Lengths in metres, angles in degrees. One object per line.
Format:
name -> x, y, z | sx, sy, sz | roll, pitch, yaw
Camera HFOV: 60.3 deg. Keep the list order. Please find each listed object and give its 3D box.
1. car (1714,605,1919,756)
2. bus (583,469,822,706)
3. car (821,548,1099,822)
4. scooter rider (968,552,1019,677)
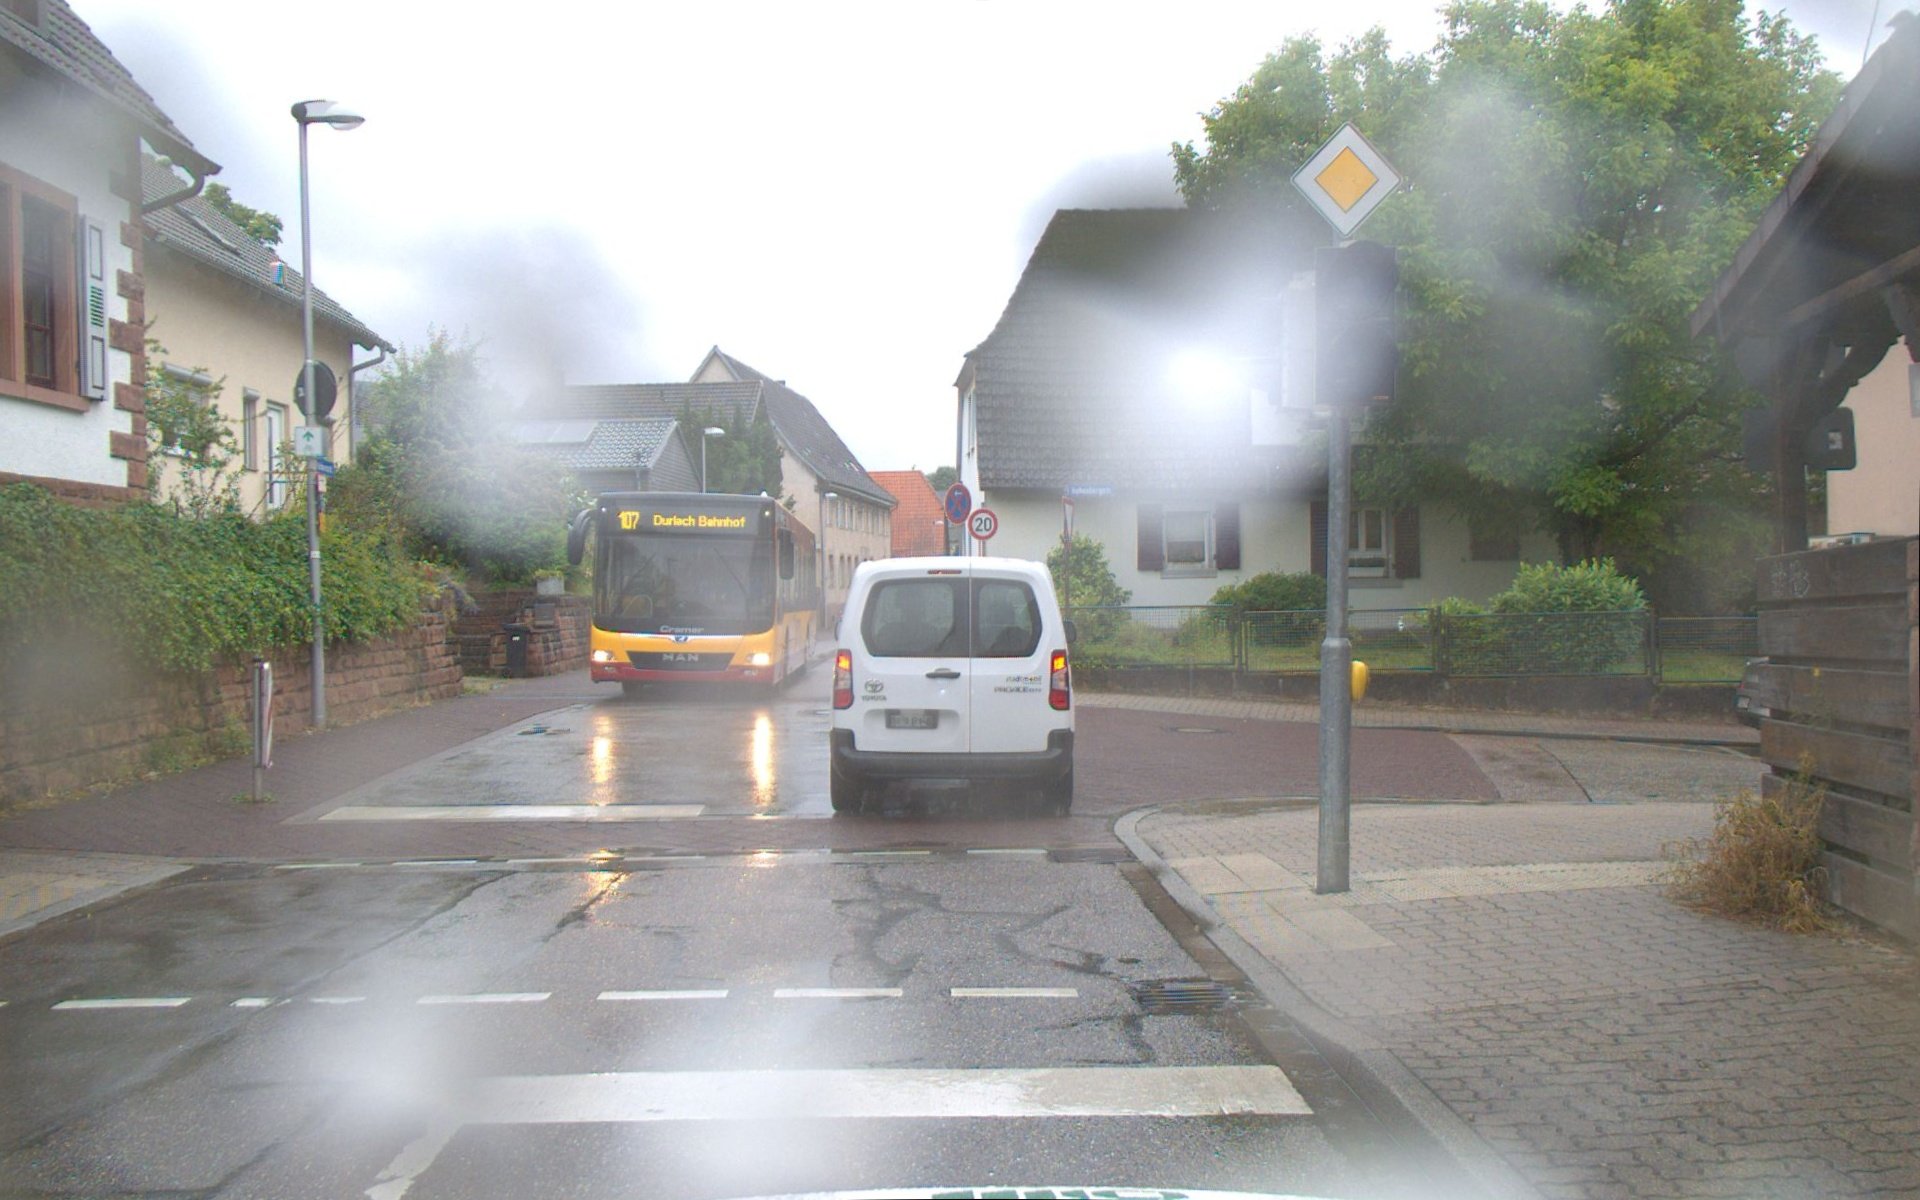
car -> 10.310, 0.859, 17.554 | 3.902, 1.492, 1.785 | 1, -1, 13
bus -> -3.827, -0.348, 27.466 | 2.596, 3.051, 12.188 | 0, 2, -3
car -> 0.005, 0.563, 13.045 | 1.855, 1.825, 3.813 | 1, 0, 0
scooter rider -> 0.478, 0.204, 23.773 | 0.716, 1.763, 0.518 | -1, 1, 0
